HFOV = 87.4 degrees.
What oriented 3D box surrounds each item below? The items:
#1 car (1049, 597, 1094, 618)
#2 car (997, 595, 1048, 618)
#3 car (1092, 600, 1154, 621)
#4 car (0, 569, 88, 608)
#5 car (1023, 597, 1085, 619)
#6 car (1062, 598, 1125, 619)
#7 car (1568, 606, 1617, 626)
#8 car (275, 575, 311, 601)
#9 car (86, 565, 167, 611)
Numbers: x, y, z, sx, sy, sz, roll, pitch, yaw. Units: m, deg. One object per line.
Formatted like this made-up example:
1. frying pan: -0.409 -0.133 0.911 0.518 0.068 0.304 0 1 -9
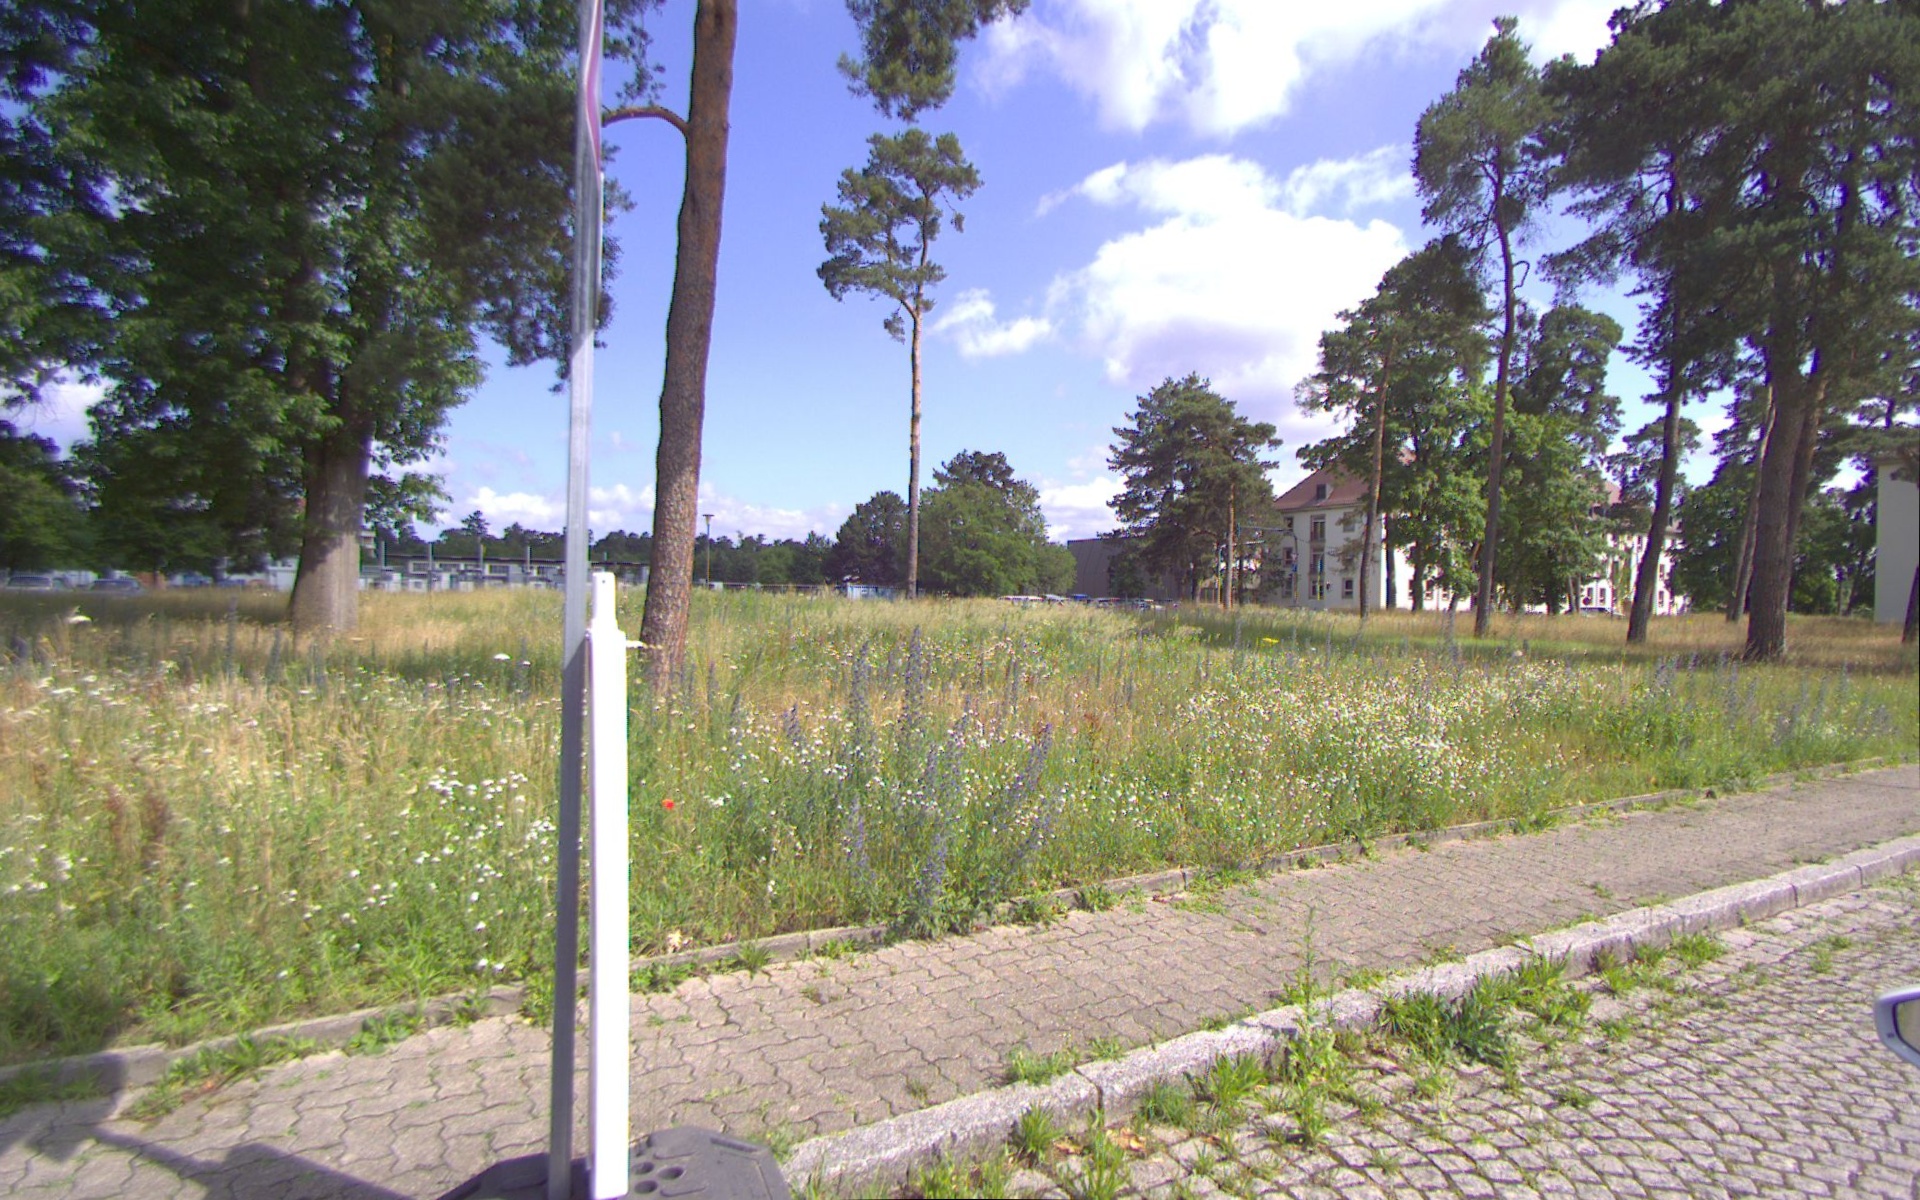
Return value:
1. car: 9.721 0.663 87.871 1.879 1.804 4.045 1 0 -31
2. car: 4.721 0.485 75.910 1.879 1.725 4.045 1 0 -31
3. car: 10.677 0.667 66.134 1.879 1.327 4.045 1 0 -31
4. car: -35.770 -0.419 39.225 1.879 1.431 4.037 1 0 -31
5. car: 5.961 0.510 64.032 1.879 1.356 4.045 1 0 -31
6. car: 8.606 0.542 65.022 1.879 1.337 4.045 1 0 -31
7. car: 66.236 1.642 105.223 1.692 2.018 4.041 1 0 -29
8. car: -47.047 -0.804 70.928 1.879 1.725 4.045 1 0 -31
9. car: -33.550 -0.468 40.545 1.879 1.713 4.037 1 0 -31
